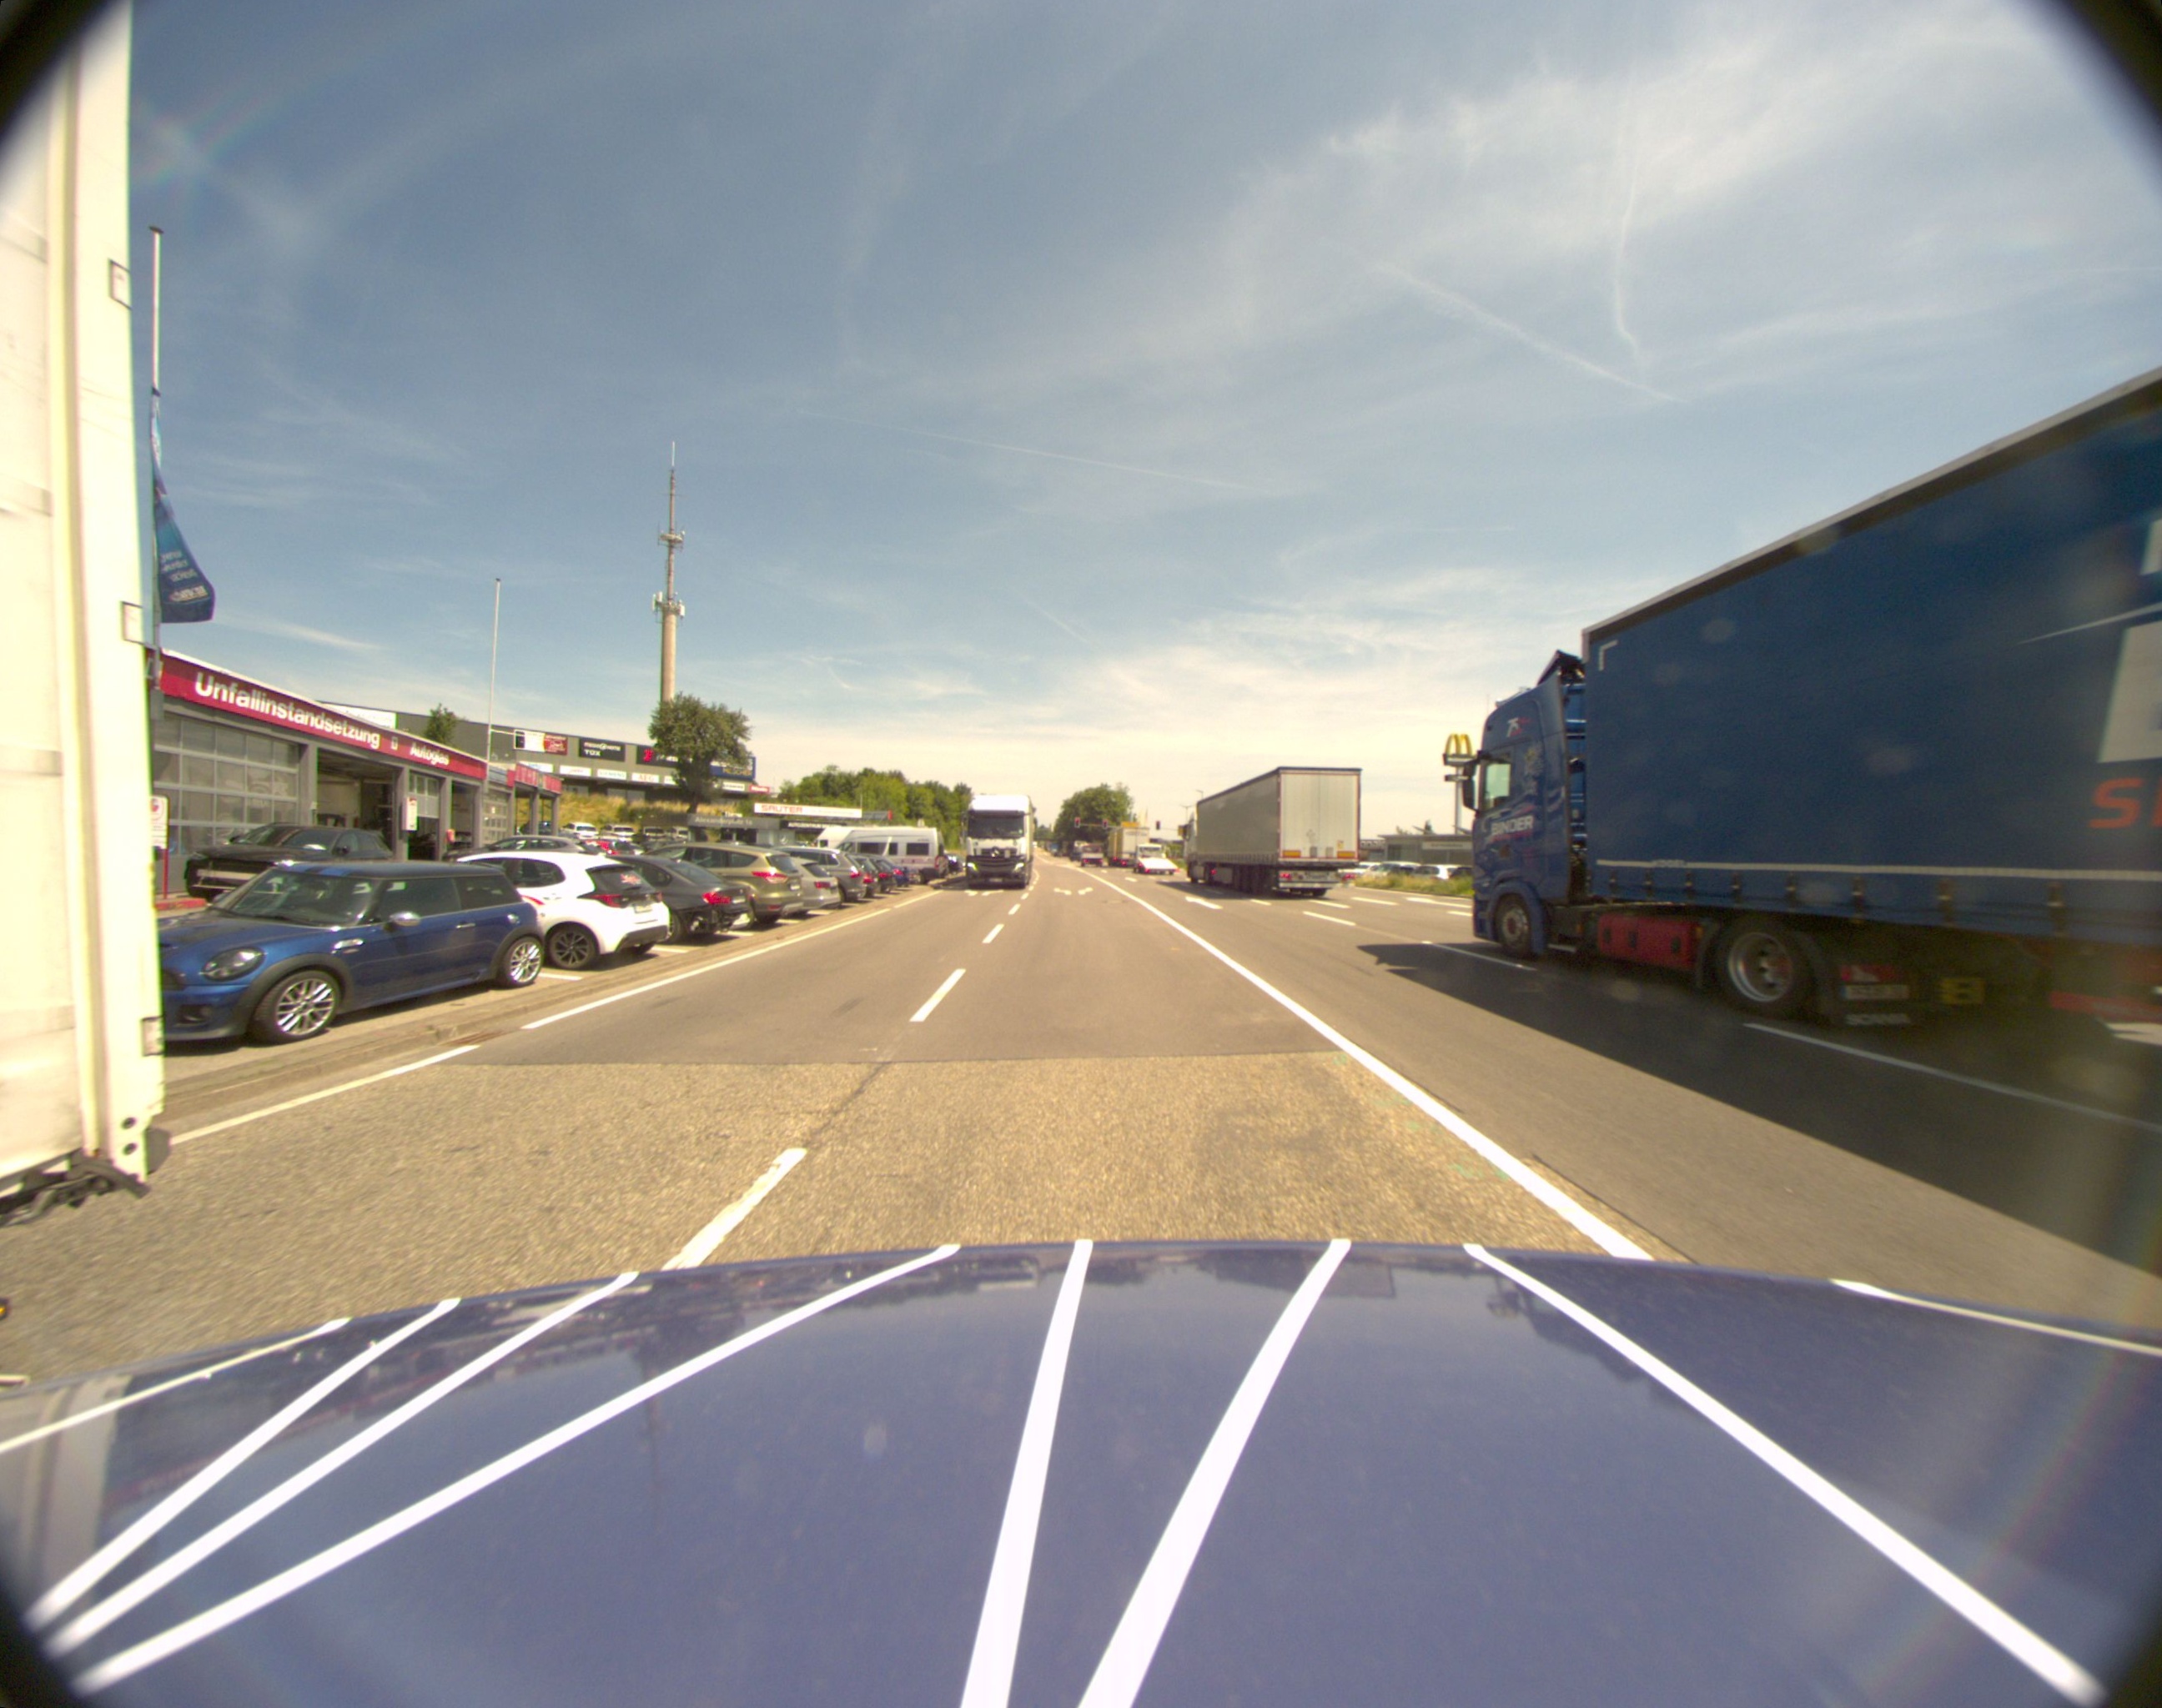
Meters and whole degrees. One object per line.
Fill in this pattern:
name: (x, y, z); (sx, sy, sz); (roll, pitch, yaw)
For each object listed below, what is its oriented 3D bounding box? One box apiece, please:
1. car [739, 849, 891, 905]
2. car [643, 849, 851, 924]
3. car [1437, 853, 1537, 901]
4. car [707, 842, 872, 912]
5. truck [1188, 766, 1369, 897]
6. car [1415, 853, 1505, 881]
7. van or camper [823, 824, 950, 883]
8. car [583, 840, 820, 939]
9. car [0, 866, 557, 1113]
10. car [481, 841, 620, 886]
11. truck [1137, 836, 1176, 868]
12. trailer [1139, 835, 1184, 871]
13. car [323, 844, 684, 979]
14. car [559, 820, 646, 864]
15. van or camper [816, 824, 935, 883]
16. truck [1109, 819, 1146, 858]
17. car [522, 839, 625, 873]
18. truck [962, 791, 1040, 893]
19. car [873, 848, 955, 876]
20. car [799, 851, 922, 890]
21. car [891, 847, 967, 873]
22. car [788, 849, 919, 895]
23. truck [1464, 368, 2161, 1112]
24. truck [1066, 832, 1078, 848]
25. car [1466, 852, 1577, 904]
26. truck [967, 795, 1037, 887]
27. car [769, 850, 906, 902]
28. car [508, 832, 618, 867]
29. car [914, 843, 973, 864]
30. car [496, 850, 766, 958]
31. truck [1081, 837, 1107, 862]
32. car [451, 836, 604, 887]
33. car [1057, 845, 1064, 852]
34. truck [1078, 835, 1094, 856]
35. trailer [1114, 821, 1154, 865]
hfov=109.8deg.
car: (-8.183, 0.689, 23.709); (4.022, 1.473, 1.977); (3, 1, -5)
car: (-7.877, 0.750, 18.256); (4.148, 1.414, 1.791); (4, 1, -5)
car: (15.852, 0.846, 29.628); (3.875, 1.740, 1.795); (0, 1, -34)
car: (-7.993, 0.626, 21.256); (4.027, 1.665, 2.197); (3, 1, -16)
truck: (7.114, -0.854, 31.102); (2.797, 3.867, 16.476); (-1, 1, -1)
car: (23.505, 0.792, 47.251); (1.827, 1.565, 4.665); (0, 1, -39)
van or camper: (-9.177, -0.026, 36.226); (5.489, 2.714, 2.231); (0, 1, -1)
car: (-7.734, 0.681, 15.800); (3.865, 1.682, 1.943); (4, 1, -2)
car: (-7.433, 0.974, 7.267); (1.999, 1.425, 3.999); (4, 1, 0)
car: (-20.512, 0.369, 29.546); (4.003, 1.565, 1.852); (2, 0, -17)
truck: (5.693, -0.176, 57.995); (2.431, 2.327, 5.674); (2, 1, 0)
trailer: (5.676, -0.116, 54.326); (2.434, 2.325, 6.895); (2, 1, 0)
car: (-7.880, 0.736, 10.687); (3.537, 1.470, 1.832); (5, 1, -4)
car: (-26.394, -0.679, 41.999); (3.596, 1.575, 1.673); (7, 18, 1)
van or camper: (-10.378, -0.055, 38.713); (5.382, 2.889, 2.231); (0, 1, -1)
truck: (5.023, -1.684, 84.147); (3.037, 4.081, 10.350); (0, 1, -2)
car: (-23.035, 0.068, 34.613); (3.604, 1.441, 1.674); (-1, 1, -23)
truck: (-3.493, -0.512, 33.580); (2.982, 3.987, 6.322); (2, 1, -6)
car: (-9.508, 0.439, 43.592); (4.338, 1.490, 2.080); (-1, 1, -5)
car: (-8.907, 0.651, 30.969); (4.526, 1.510, 1.782); (0, 1, -1)
car: (-9.240, 0.323, 46.467); (4.338, 1.490, 2.080); (-1, 1, -5)
car: (-8.435, 0.665, 28.474); (4.277, 1.405, 2.162); (3, 1, -5)
truck: (7.033, -0.587, 2.900); (2.851, 3.867, 17.002); (-1, 1, 1)
truck: (-2.582, -3.775, 208.465); (2.852, 3.932, 17.081); (-2, 1, -2)
car: (15.419, 0.785, 26.577); (3.875, 1.677, 1.795); (0, 1, -34)
truck: (-4.151, -0.649, 40.581); (2.982, 3.987, 14.113); (2, 1, -5)
car: (-8.176, 0.718, 25.842); (4.022, 1.473, 1.977); (3, 1, -5)
car: (-21.882, -0.201, 32.265); (3.604, 1.366, 1.674); (-2, 1, -26)
car: (-11.456, -0.031, 63.617); (4.486, 1.401, 1.741); (4, -1, -35)
car: (-7.689, 0.815, 13.289); (3.537, 1.470, 1.832); (5, 1, -4)
truck: (1.320, -0.541, 80.119); (2.402, 2.431, 6.869); (-1, 1, -1)
car: (-19.175, 0.245, 26.563); (4.005, 1.678, 1.851); (0, 1, -25)
car: (-5.305, -1.374, 192.210); (1.688, 1.420, 4.151); (2, 2, -3)
truck: (0.965, -1.653, 156.467); (2.612, 3.995, 15.125); (-1, 0, -2)
trailer: (5.255, -1.129, 77.836); (3.019, 4.262, 10.054); (0, 1, -2)
